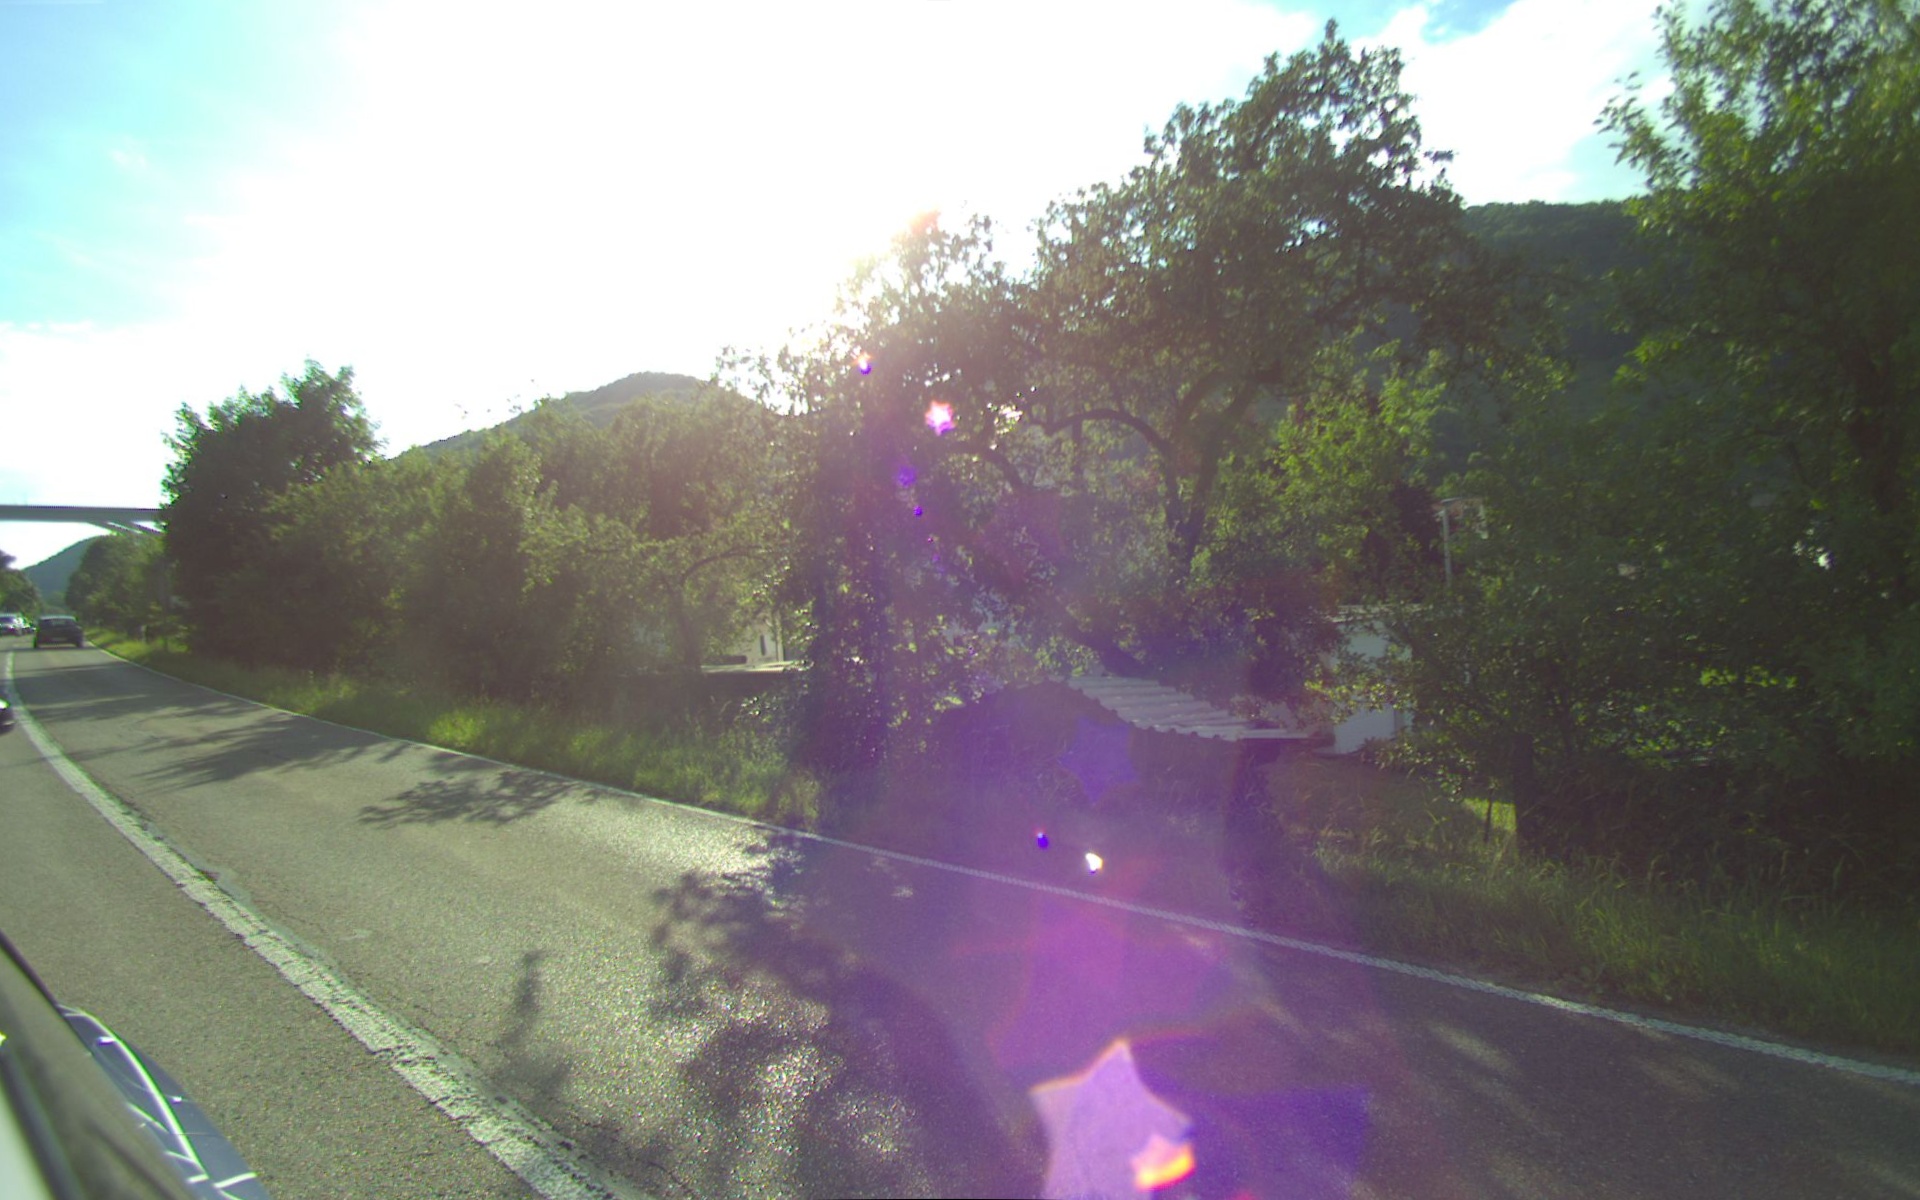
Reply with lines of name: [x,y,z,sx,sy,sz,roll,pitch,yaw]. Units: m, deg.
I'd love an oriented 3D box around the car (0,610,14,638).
car: [-71.948,1.755,75.482,1.970,2.029,4.004,-1,0,-43]

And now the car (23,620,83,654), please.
car: [-41.883,1.656,46.698,4.050,1.441,1.685,-1,0,43]

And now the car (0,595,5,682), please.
car: [-23.567,0.898,23.639,1.734,1.952,4.003,-1,0,-44]
